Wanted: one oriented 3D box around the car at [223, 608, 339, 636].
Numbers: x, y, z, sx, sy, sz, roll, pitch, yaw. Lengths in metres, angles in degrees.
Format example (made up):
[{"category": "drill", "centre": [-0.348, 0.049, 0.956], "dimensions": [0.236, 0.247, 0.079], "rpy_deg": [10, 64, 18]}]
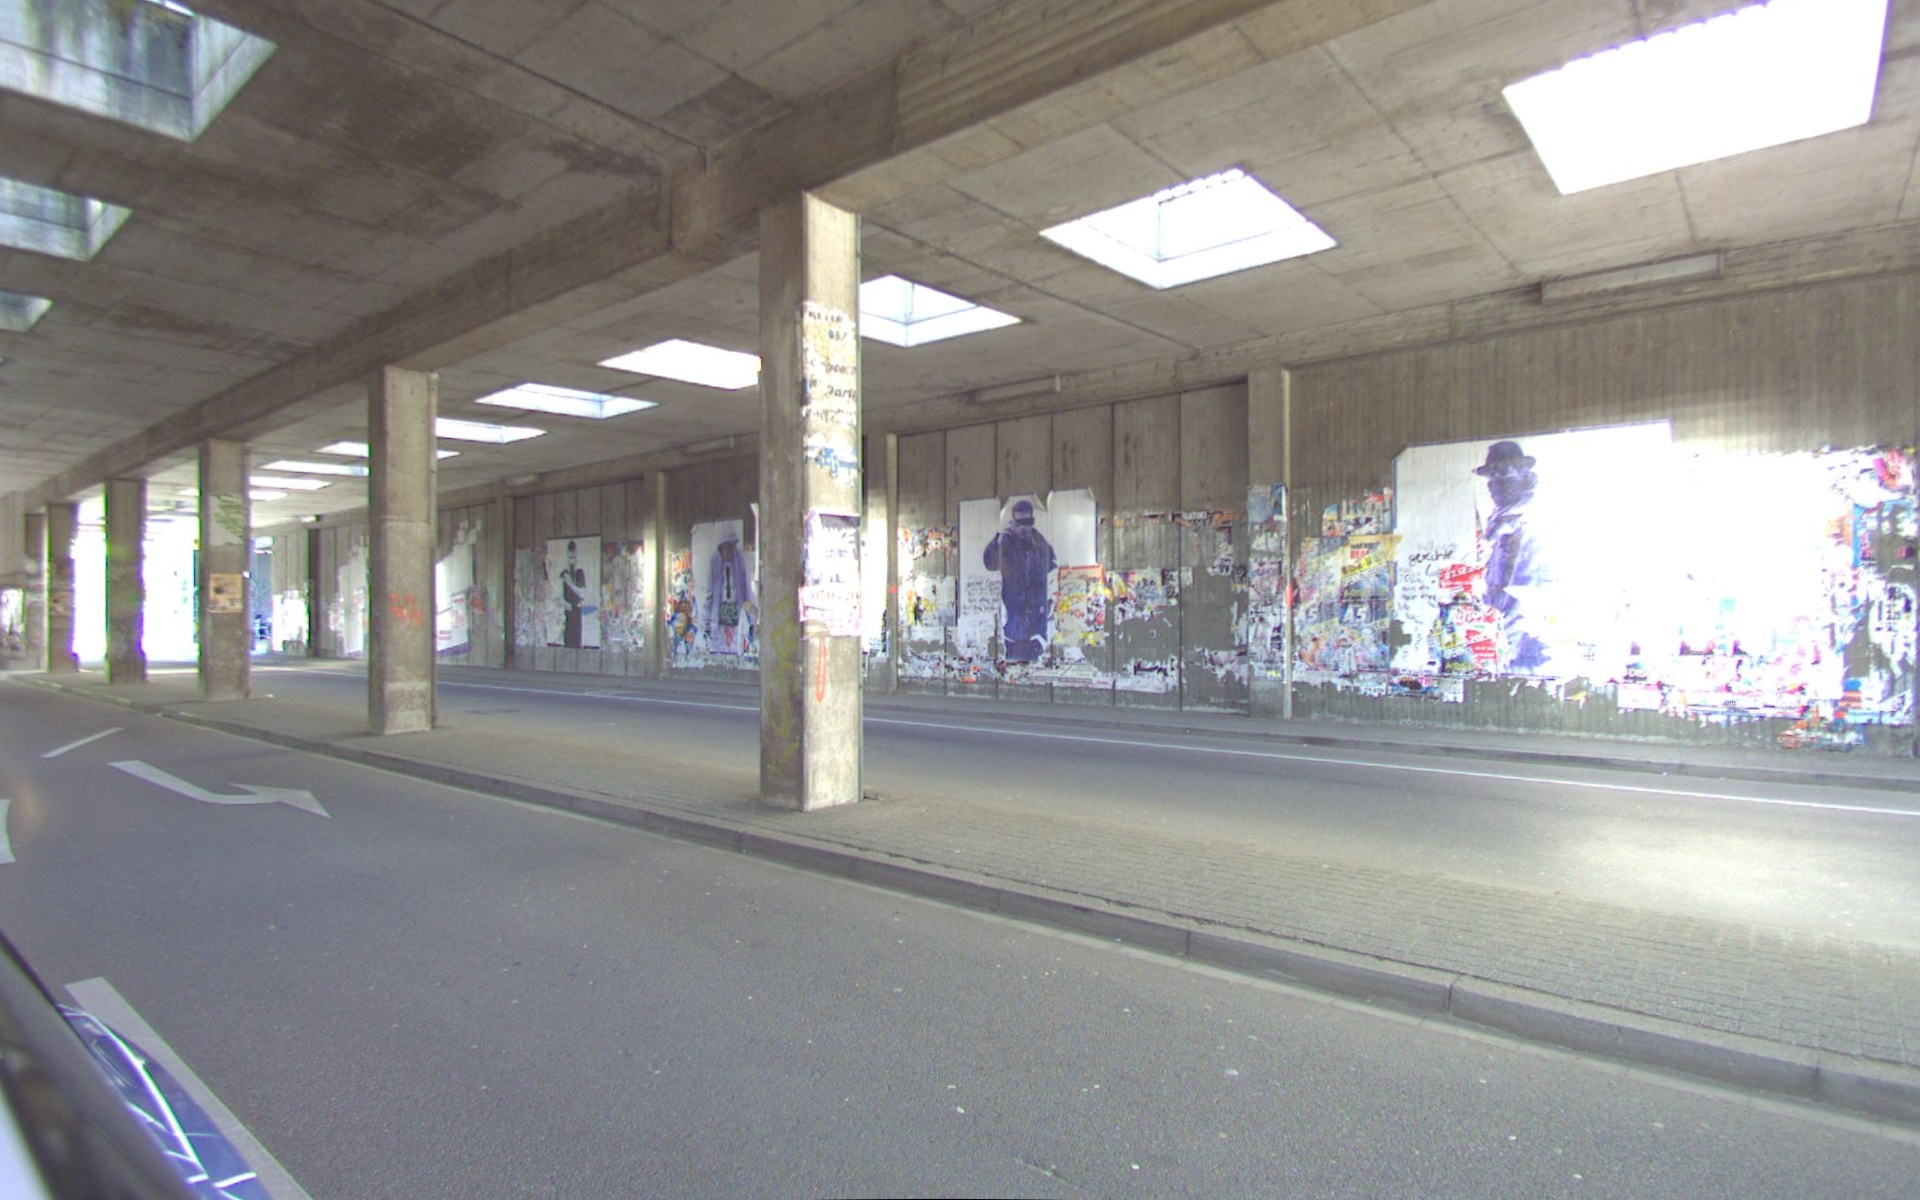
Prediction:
[{"category": "car", "centre": [-46.809, 1.486, 69.869], "dimensions": [6.441, 1.763, 2.002], "rpy_deg": [-1, 0, -43]}]
